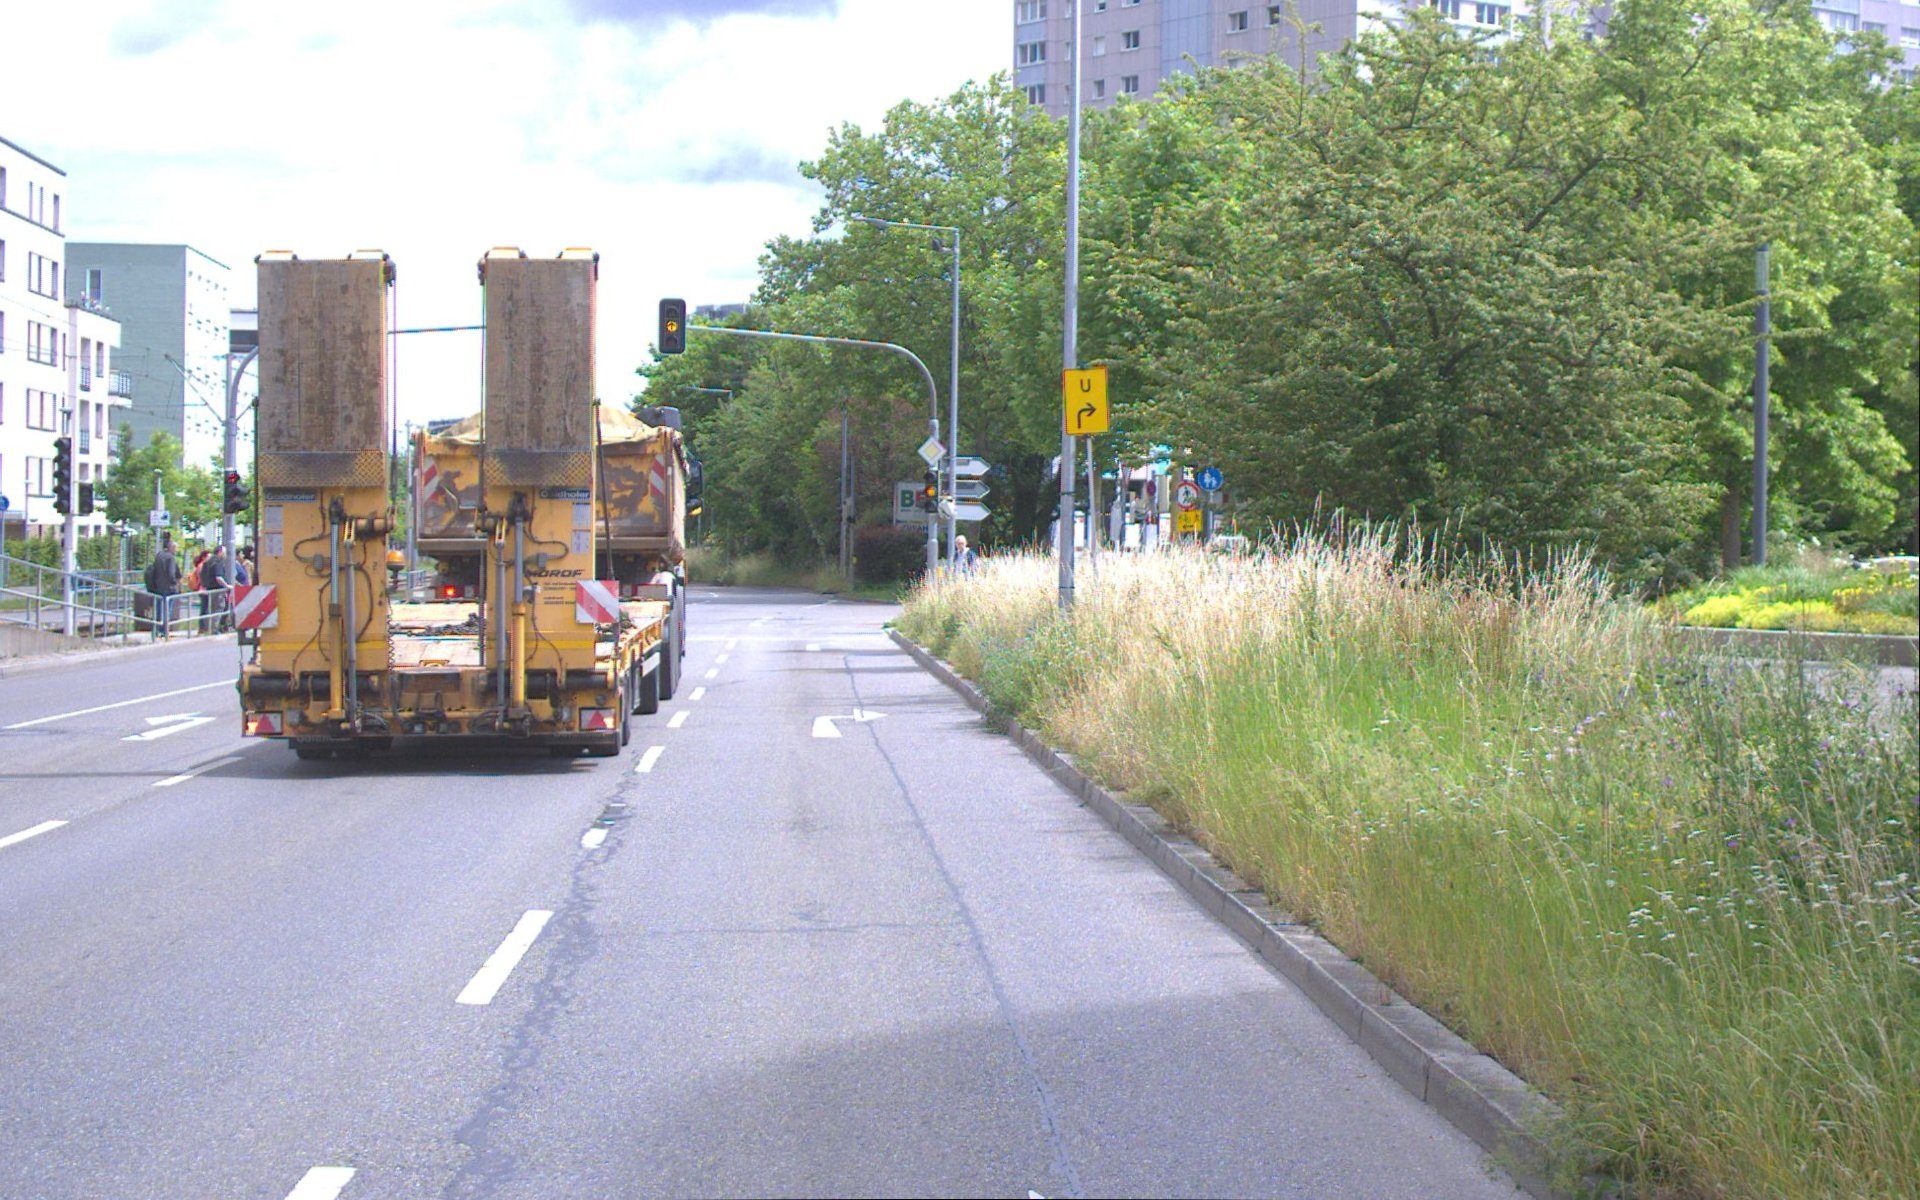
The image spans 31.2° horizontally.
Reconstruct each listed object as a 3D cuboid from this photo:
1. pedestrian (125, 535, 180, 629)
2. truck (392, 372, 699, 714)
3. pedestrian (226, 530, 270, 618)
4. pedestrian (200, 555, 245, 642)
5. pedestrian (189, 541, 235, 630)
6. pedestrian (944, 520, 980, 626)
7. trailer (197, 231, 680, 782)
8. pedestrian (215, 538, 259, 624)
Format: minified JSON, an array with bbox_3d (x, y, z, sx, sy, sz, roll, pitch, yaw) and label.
[{"bbox_3d":[-14.417,-0.325,61.408,0.820,1.663,0.683,1,1,-2],"label":"pedestrian"},{"bbox_3d":[-4.376,-0.632,37.890,2.753,3.302,8.353,1,1,-3],"label":"truck"},{"bbox_3d":[-13.694,-0.502,66.139,0.681,1.664,0.823,1,1,-4],"label":"pedestrian"},{"bbox_3d":[-13.644,-0.031,63.607,0.681,1.597,0.823,1,1,-4],"label":"pedestrian"},{"bbox_3d":[-13.614,-0.277,62.622,0.681,1.597,0.823,1,1,-4],"label":"pedestrian"},{"bbox_3d":[0.035,-0.516,65.283,0.561,2.007,0.492,1,0,-12],"label":"pedestrian"},{"bbox_3d":[-3.861,-0.710,28.078,2.729,3.546,11.255,1,1,-3],"label":"trailer"},{"bbox_3d":[-13.712,-0.368,65.234,0.681,1.597,0.823,1,1,-4],"label":"pedestrian"}]
